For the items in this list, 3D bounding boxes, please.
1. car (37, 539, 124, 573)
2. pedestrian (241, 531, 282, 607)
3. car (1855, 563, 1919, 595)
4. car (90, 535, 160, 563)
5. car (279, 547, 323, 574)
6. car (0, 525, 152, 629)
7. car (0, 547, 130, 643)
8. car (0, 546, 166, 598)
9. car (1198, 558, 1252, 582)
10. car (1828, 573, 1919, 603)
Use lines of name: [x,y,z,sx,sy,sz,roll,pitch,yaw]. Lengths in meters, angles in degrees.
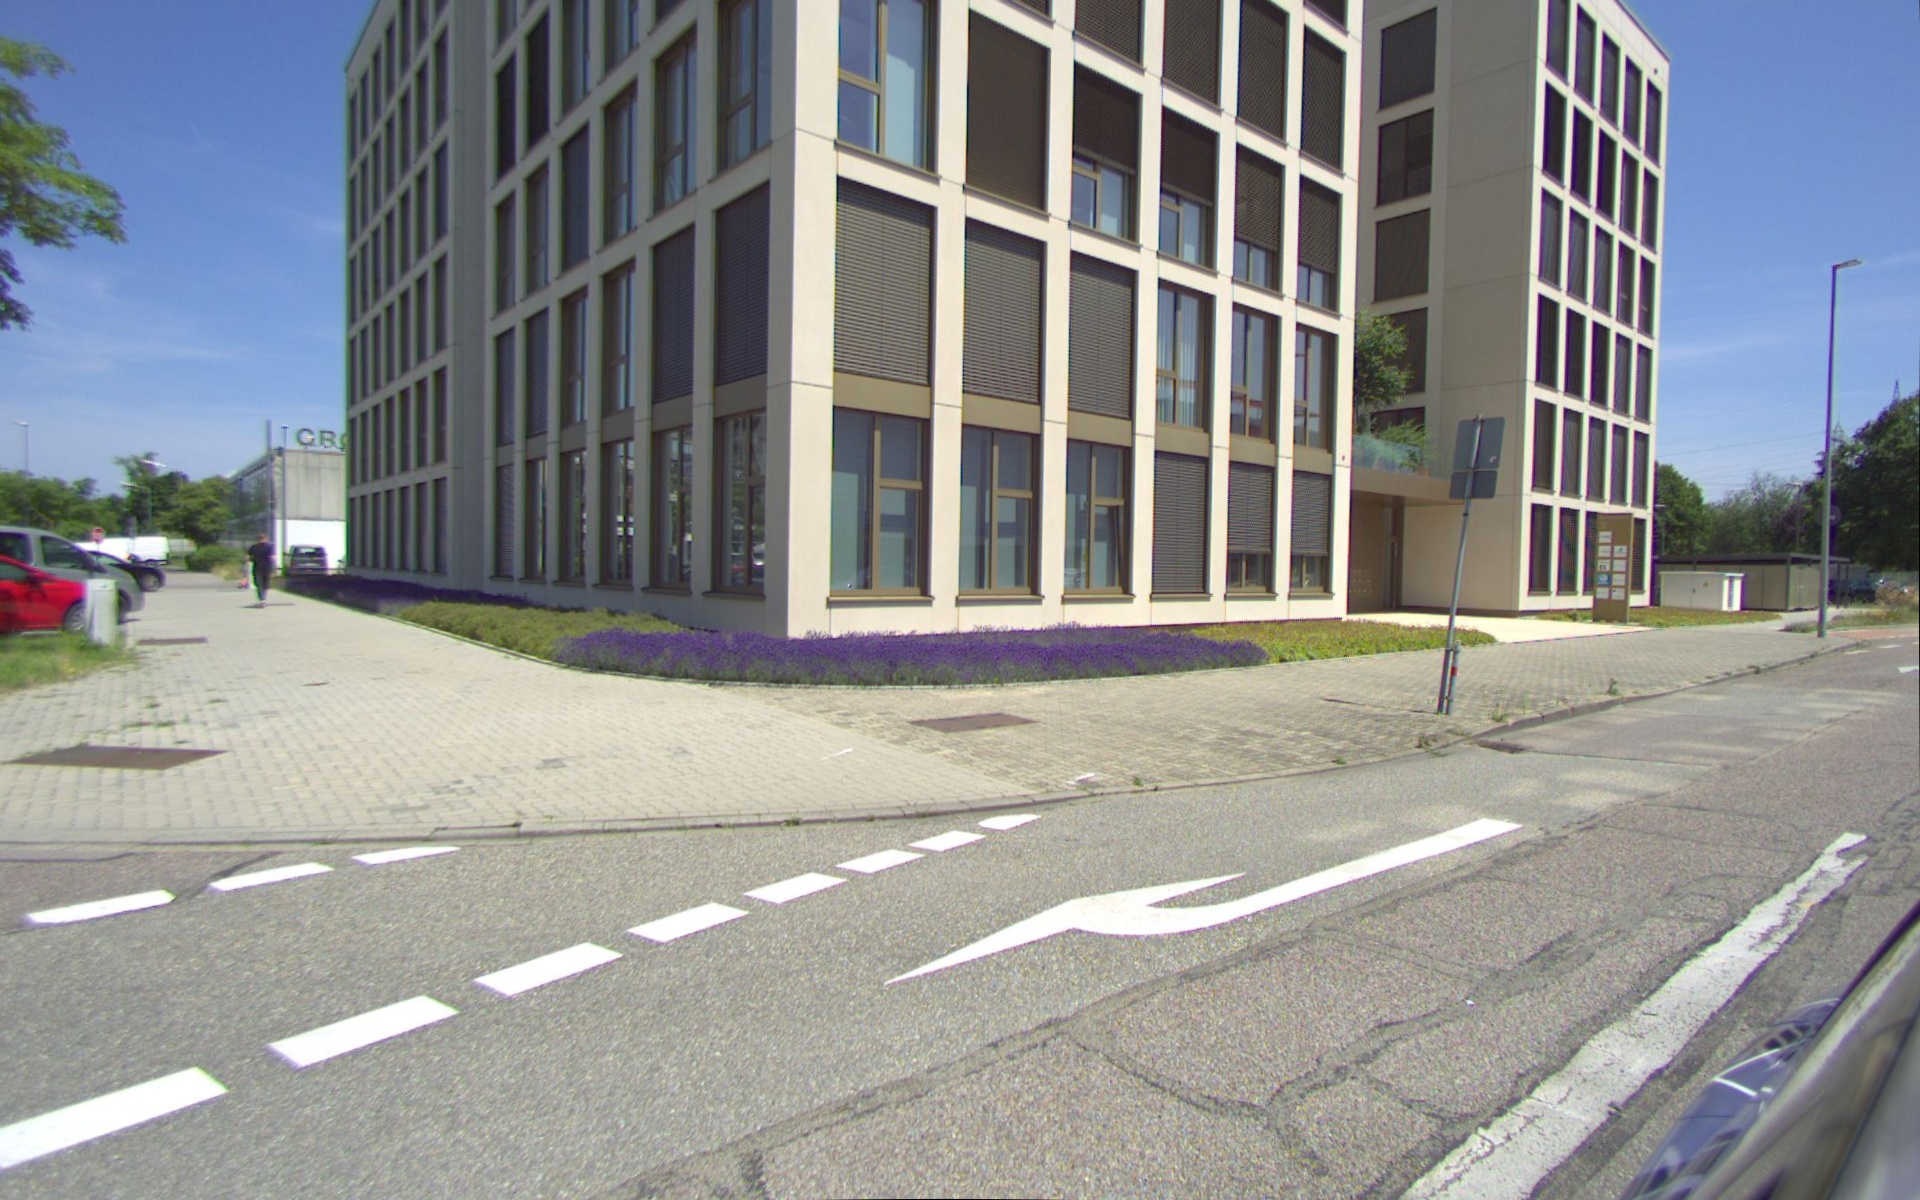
car: [-54.951,-2.722,63.349,3.925,2.038,2.000,0,2,-36]
pedestrian: [-17.392,-0.782,25.221,0.758,1.867,0.869,-1,3,-32]
car: [59.205,-1.311,63.553,3.958,1.977,1.984,2,2,25]
car: [-67.517,-4.111,81.898,4.280,2.146,2.094,0,2,-37]
car: [-37.966,-2.285,58.251,1.758,1.540,3.574,-1,3,-39]
car: [-17.690,-0.451,18.418,1.676,1.838,4.899,1,2,7]
car: [-15.395,-0.087,15.599,1.584,1.452,3.991,1,2,9]
car: [-29.145,-0.976,33.516,1.792,1.557,4.131,0,3,19]
car: [20.981,-2.368,80.106,3.921,1.874,2.002,0,2,-31]
car: [55.705,-0.733,61.572,3.960,1.682,1.822,2,3,26]
